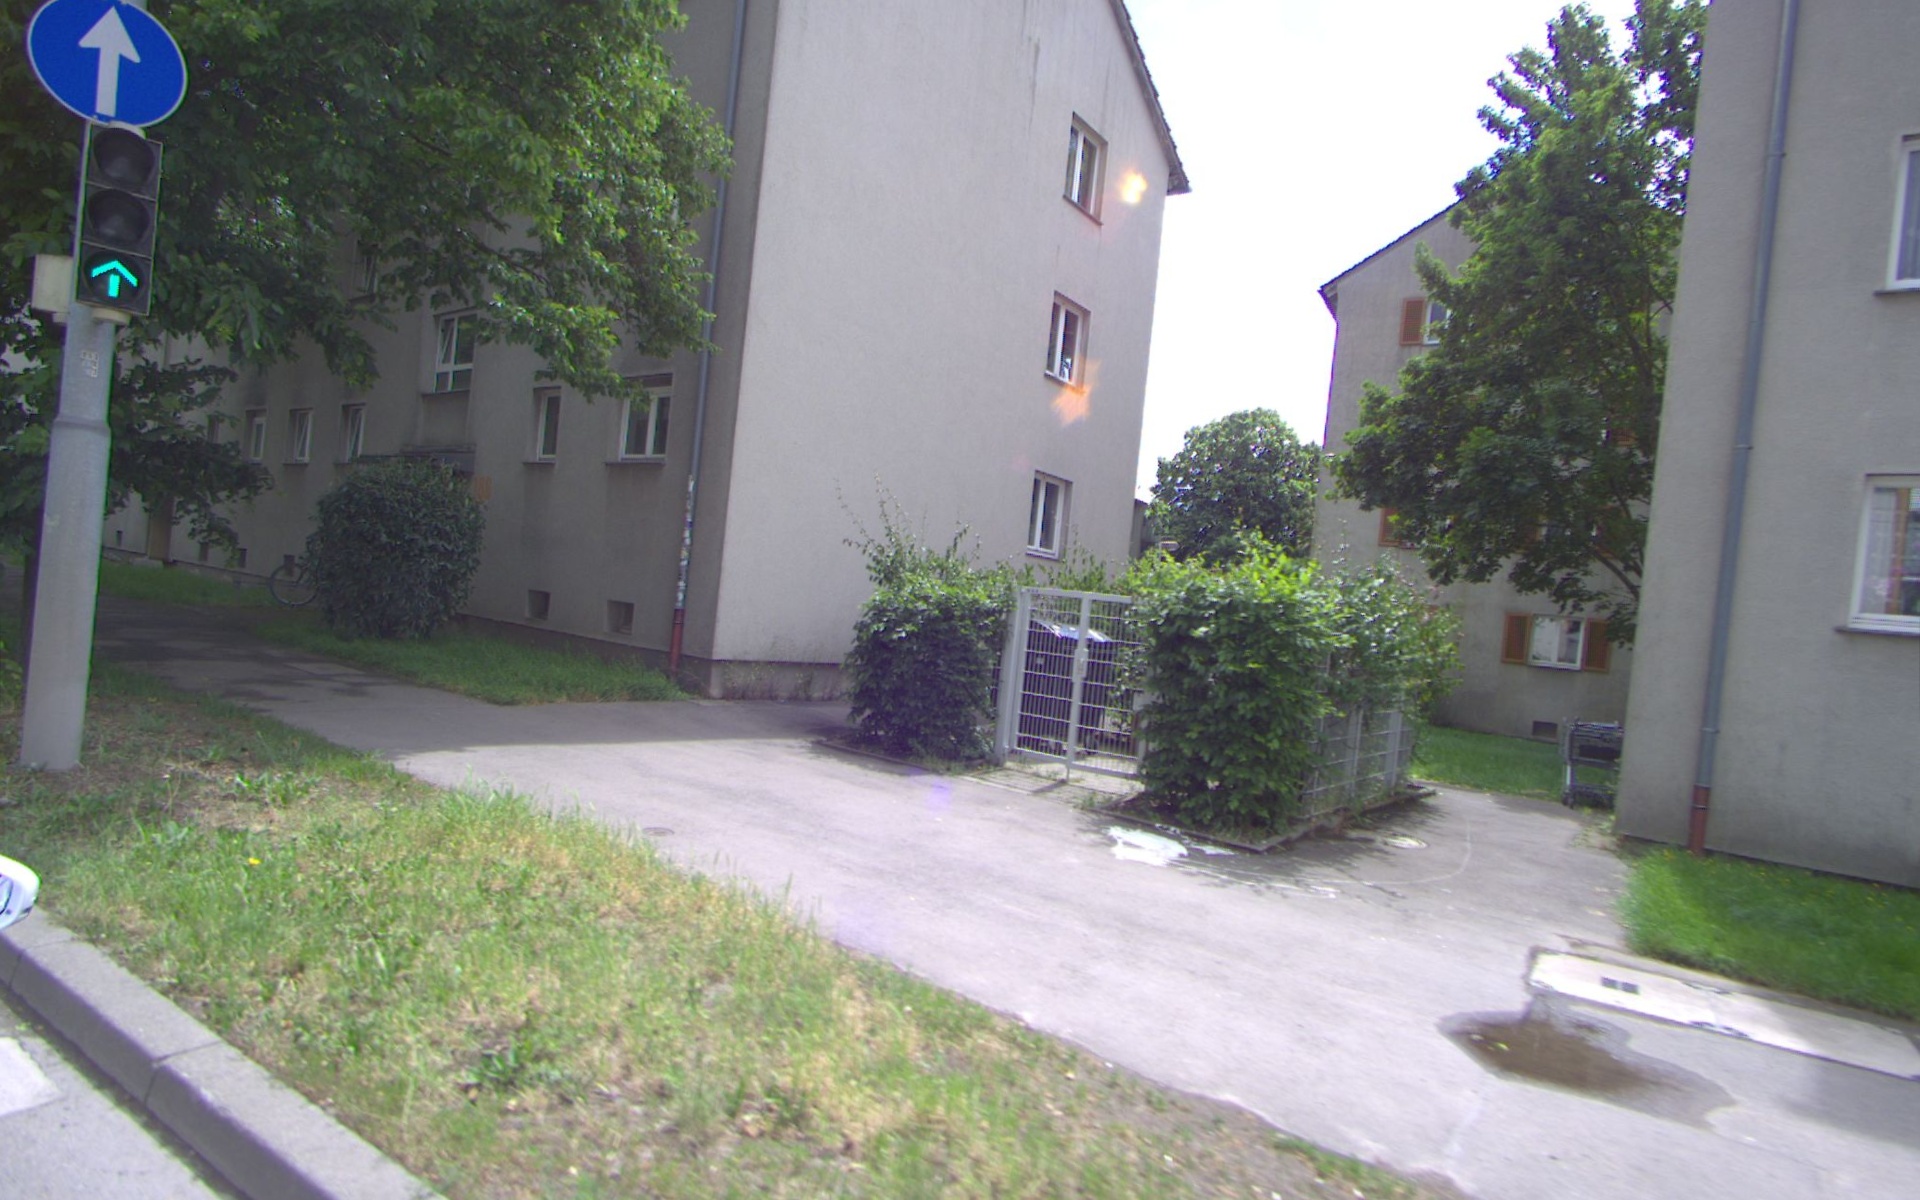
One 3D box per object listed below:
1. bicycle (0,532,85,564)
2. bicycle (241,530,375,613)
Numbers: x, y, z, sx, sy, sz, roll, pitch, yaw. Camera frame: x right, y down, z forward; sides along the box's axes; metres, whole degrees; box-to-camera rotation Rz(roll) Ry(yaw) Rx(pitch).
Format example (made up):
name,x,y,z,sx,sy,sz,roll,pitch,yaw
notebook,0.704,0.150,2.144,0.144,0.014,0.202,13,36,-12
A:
name,x,y,z,sx,sy,sz,roll,pitch,yaw
bicycle,-21.954,-1.263,23.503,0.664,0.513,2.202,5,-3,42
bicycle,-10.562,-0.453,16.326,1.723,1.093,0.436,7,-1,-4
